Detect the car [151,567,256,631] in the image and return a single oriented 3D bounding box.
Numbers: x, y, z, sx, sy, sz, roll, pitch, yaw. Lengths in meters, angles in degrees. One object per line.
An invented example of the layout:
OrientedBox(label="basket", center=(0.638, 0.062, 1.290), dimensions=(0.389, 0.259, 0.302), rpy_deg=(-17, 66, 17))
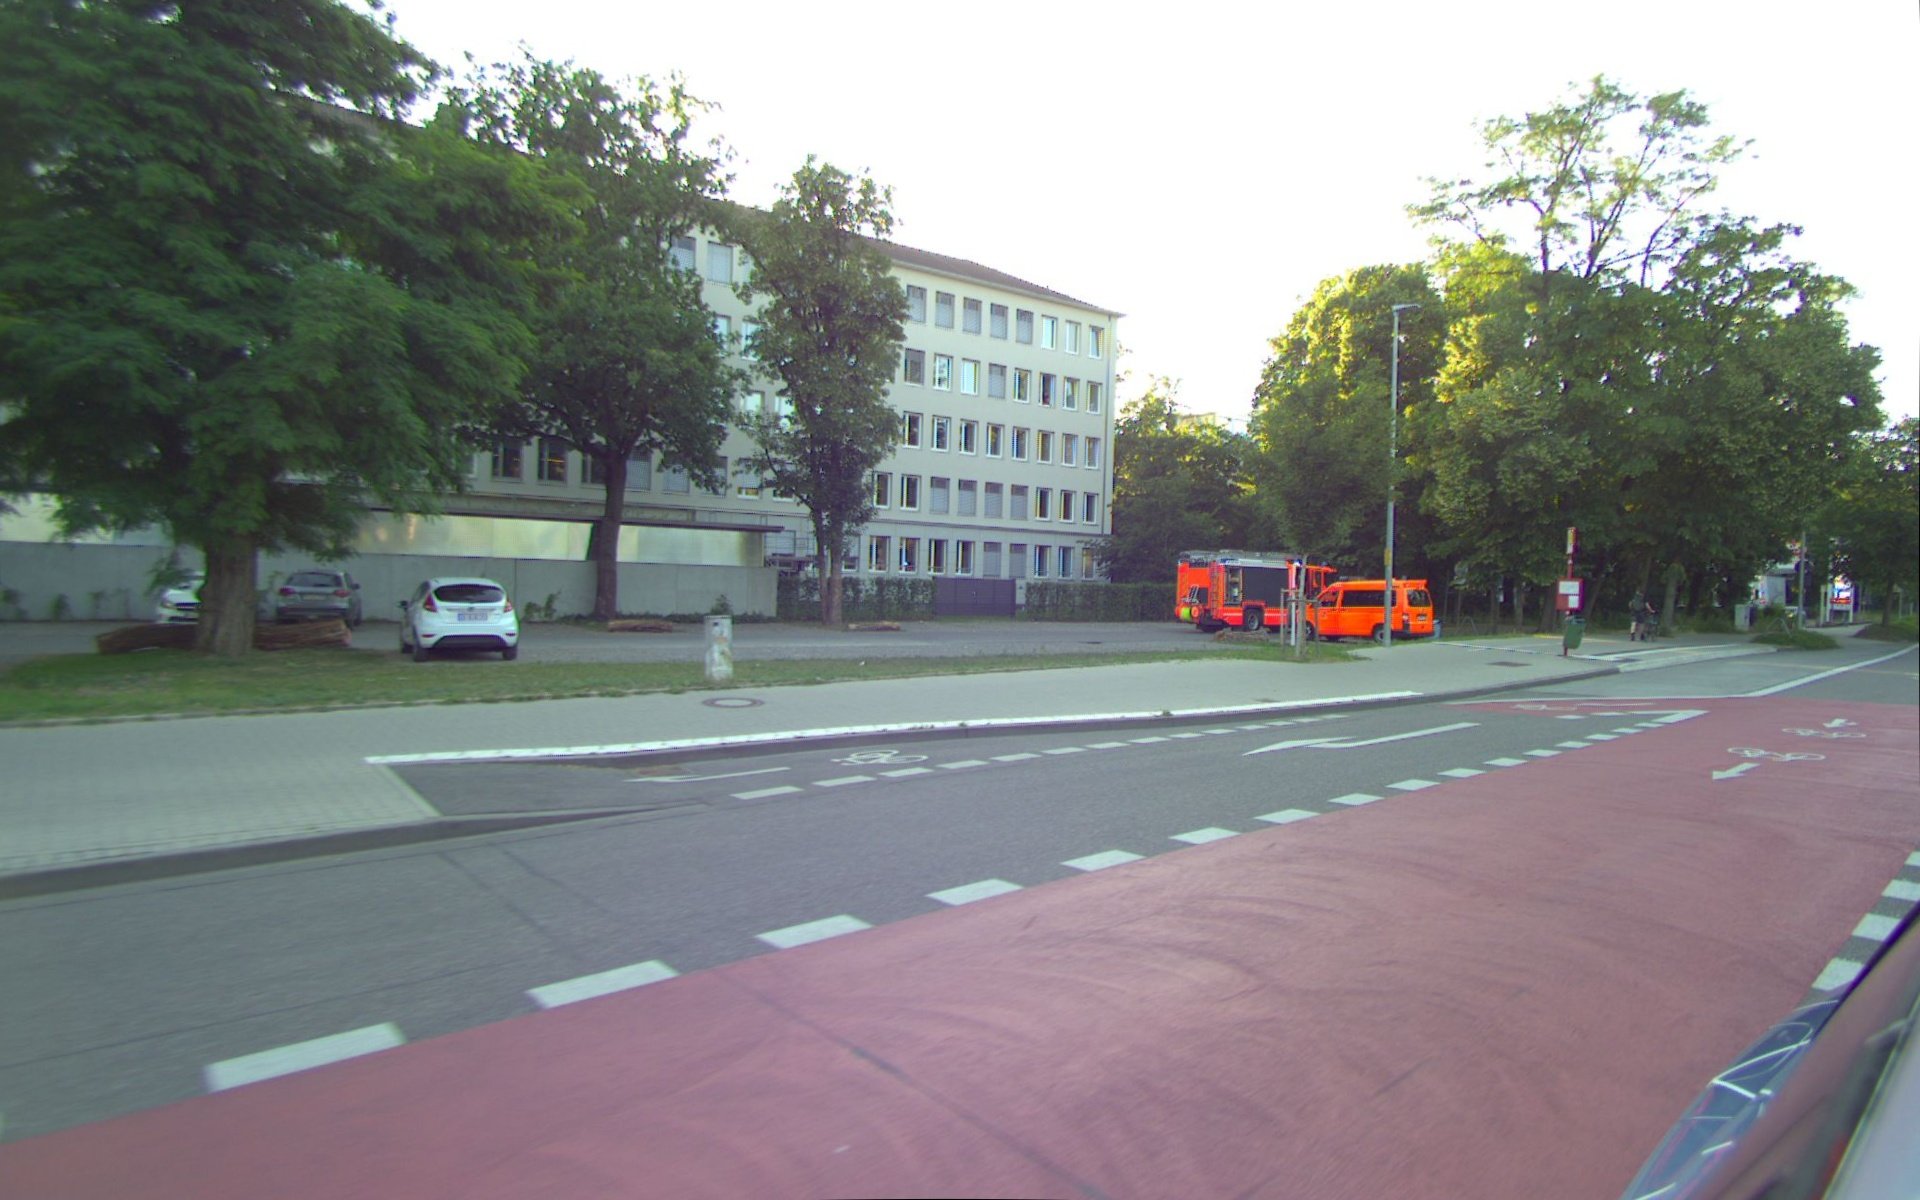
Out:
OrientedBox(label="car", center=(-19.160, -0.039, 25.784), dimensions=(1.797, 1.494, 4.002), rpy_deg=(0, 0, -32))

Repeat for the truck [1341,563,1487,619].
OrientedBox(label="truck", center=(28.077, -0.626, 63.122), dimensions=(2.703, 3.251, 8.682), rpy_deg=(1, 1, -23))

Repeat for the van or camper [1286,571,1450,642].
OrientedBox(label="van or camper", center=(14.011, 0.186, 34.995), dimensions=(2.251, 2.273, 4.829), rpy_deg=(1, 0, -34))

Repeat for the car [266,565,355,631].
OrientedBox(label="car", center=(-17.470, -0.082, 27.373), dimensions=(1.875, 1.637, 4.003), rpy_deg=(0, 1, -31))

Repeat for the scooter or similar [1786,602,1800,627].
OrientedBox(label="scooter or similar", center=(44.782, 0.755, 54.398), dimensions=(0.482, 1.298, 1.213), rpy_deg=(4, 2, 41))

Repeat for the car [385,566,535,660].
OrientedBox(label="car", center=(-9.398, 0.195, 18.868), dimensions=(1.876, 1.557, 3.999), rpy_deg=(0, 0, -36))

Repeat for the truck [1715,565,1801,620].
OrientedBox(label="truck", center=(60.517, -0.497, 76.489), dimensions=(15.625, 3.776, 3.220), rpy_deg=(0, 0, -45))

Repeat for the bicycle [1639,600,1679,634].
OrientedBox(label="bicycle", center=(23.753, 0.568, 34.377), dimensions=(0.830, 1.111, 1.938), rpy_deg=(-1, -1, 43))

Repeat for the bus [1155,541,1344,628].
OrientedBox(label="bus", center=(11.846, -0.587, 41.146), dimensions=(7.809, 3.236, 2.999), rpy_deg=(0, 0, -33))

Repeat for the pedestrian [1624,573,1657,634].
OrientedBox(label="pedestrian", center=(23.234, 0.124, 34.534), dimensions=(0.683, 2.038, 0.724), rpy_deg=(1, 2, -43))
